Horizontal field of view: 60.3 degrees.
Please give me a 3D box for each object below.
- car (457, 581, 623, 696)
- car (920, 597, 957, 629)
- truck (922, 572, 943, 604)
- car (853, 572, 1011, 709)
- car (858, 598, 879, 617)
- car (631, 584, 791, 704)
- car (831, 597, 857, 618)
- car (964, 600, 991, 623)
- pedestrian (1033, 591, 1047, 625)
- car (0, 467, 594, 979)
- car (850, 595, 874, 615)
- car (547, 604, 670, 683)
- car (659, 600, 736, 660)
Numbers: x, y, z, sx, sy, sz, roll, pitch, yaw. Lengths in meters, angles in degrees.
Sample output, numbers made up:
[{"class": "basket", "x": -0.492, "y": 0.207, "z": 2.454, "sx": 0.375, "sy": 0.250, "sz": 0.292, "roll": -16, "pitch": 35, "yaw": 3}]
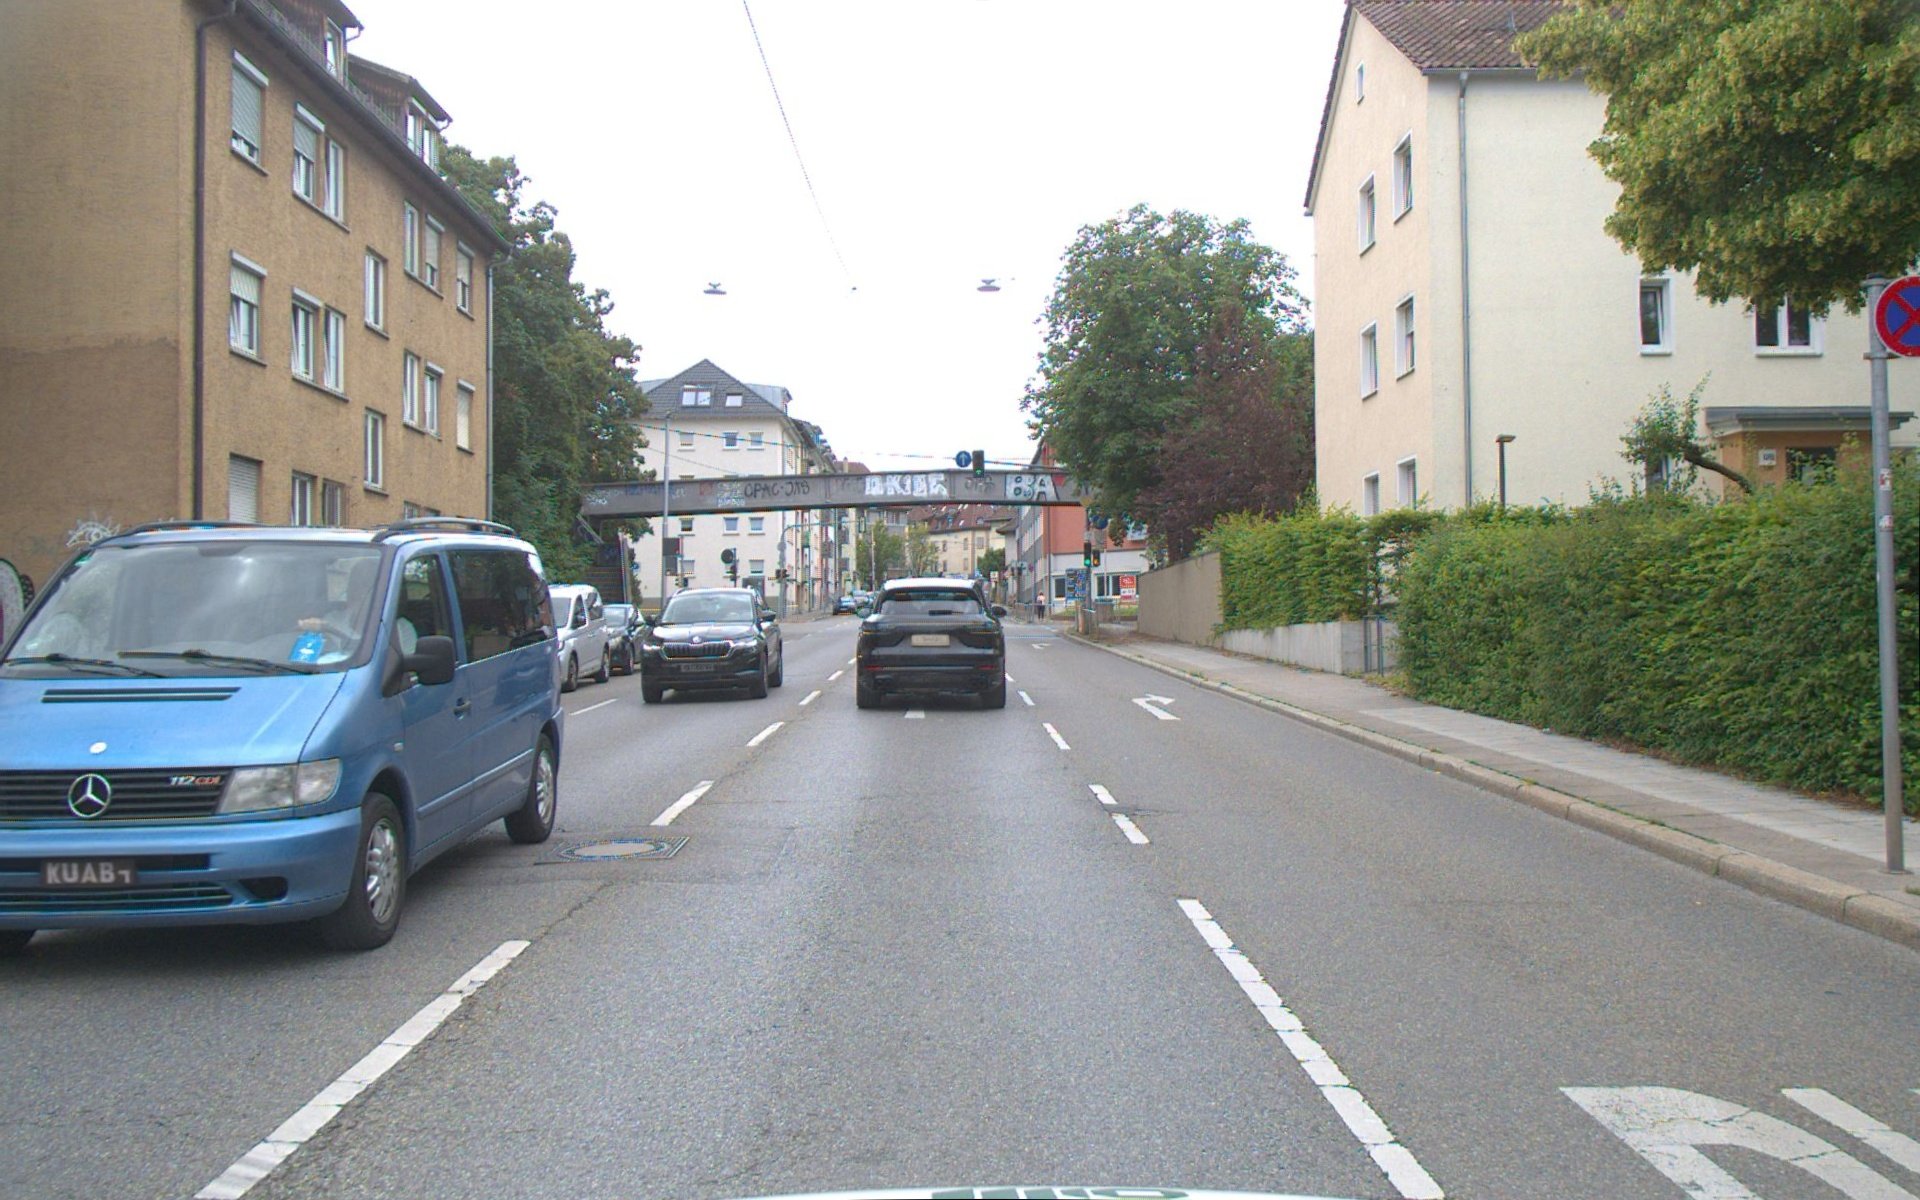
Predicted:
[{"class": "car", "x": -7.204, "y": 0.617, "z": 28.836, "sx": 1.740, "sy": 1.784, "sz": 4.556, "roll": -2, "pitch": 0, "yaw": -1}, {"class": "car", "x": -1.034, "y": 0.620, "z": 80.225, "sx": 1.706, "sy": 1.424, "sz": 4.000, "roll": 0, "pitch": 1, "yaw": 0}, {"class": "truck", "x": -3.030, "y": -1.283, "z": 183.809, "sx": 2.220, "sy": 3.484, "sz": 9.876, "roll": -1, "pitch": 0, "yaw": -1}, {"class": "car", "x": -0.359, "y": 0.472, "z": 22.518, "sx": 1.953, "sy": 1.691, "sz": 4.000, "roll": 0, "pitch": 1, "yaw": -1}, {"class": "car", "x": -8.341, "y": 0.644, "z": 151.067, "sx": 1.729, "sy": 1.679, "sz": 4.000, "roll": -1, "pitch": 0, "yaw": 0}, {"class": "car", "x": -3.679, "y": 0.600, "z": 25.098, "sx": 1.803, "sy": 1.618, "sz": 4.163, "roll": -2, "pitch": 0, "yaw": -1}, {"class": "car", "x": -8.793, "y": 0.556, "z": 125.508, "sx": 1.729, "sy": 1.534, "sz": 4.000, "roll": -1, "pitch": 0, "yaw": 0}, {"class": "car", "x": 1.143, "y": 0.767, "z": 110.251, "sx": 1.706, "sy": 1.424, "sz": 4.000, "roll": 0, "pitch": 1, "yaw": 0}, {"class": "pedestrian", "x": 4.270, "y": 0.421, "z": 88.237, "sx": 0.639, "sy": 1.823, "sz": 0.714, "roll": 0, "pitch": 0, "yaw": -3}, {"class": "car", "x": -3.349, "y": 0.458, "z": 8.633, "sx": 1.891, "sy": 1.934, "sz": 4.588, "roll": -1, "pitch": 0, "yaw": -1}, {"class": "car", "x": -8.404, "y": 0.437, "z": 142.127, "sx": 1.729, "sy": 1.679, "sz": 4.000, "roll": -1, "pitch": 0, "yaw": 0}, {"class": "car", "x": -7.226, "y": 0.847, "z": 34.327, "sx": 1.710, "sy": 1.464, "sz": 3.912, "roll": -2, "pitch": 0, "yaw": -1}, {"class": "car", "x": -7.559, "y": 0.831, "z": 47.875, "sx": 1.711, "sy": 1.596, "sz": 3.906, "roll": -2, "pitch": 0, "yaw": -3}]
